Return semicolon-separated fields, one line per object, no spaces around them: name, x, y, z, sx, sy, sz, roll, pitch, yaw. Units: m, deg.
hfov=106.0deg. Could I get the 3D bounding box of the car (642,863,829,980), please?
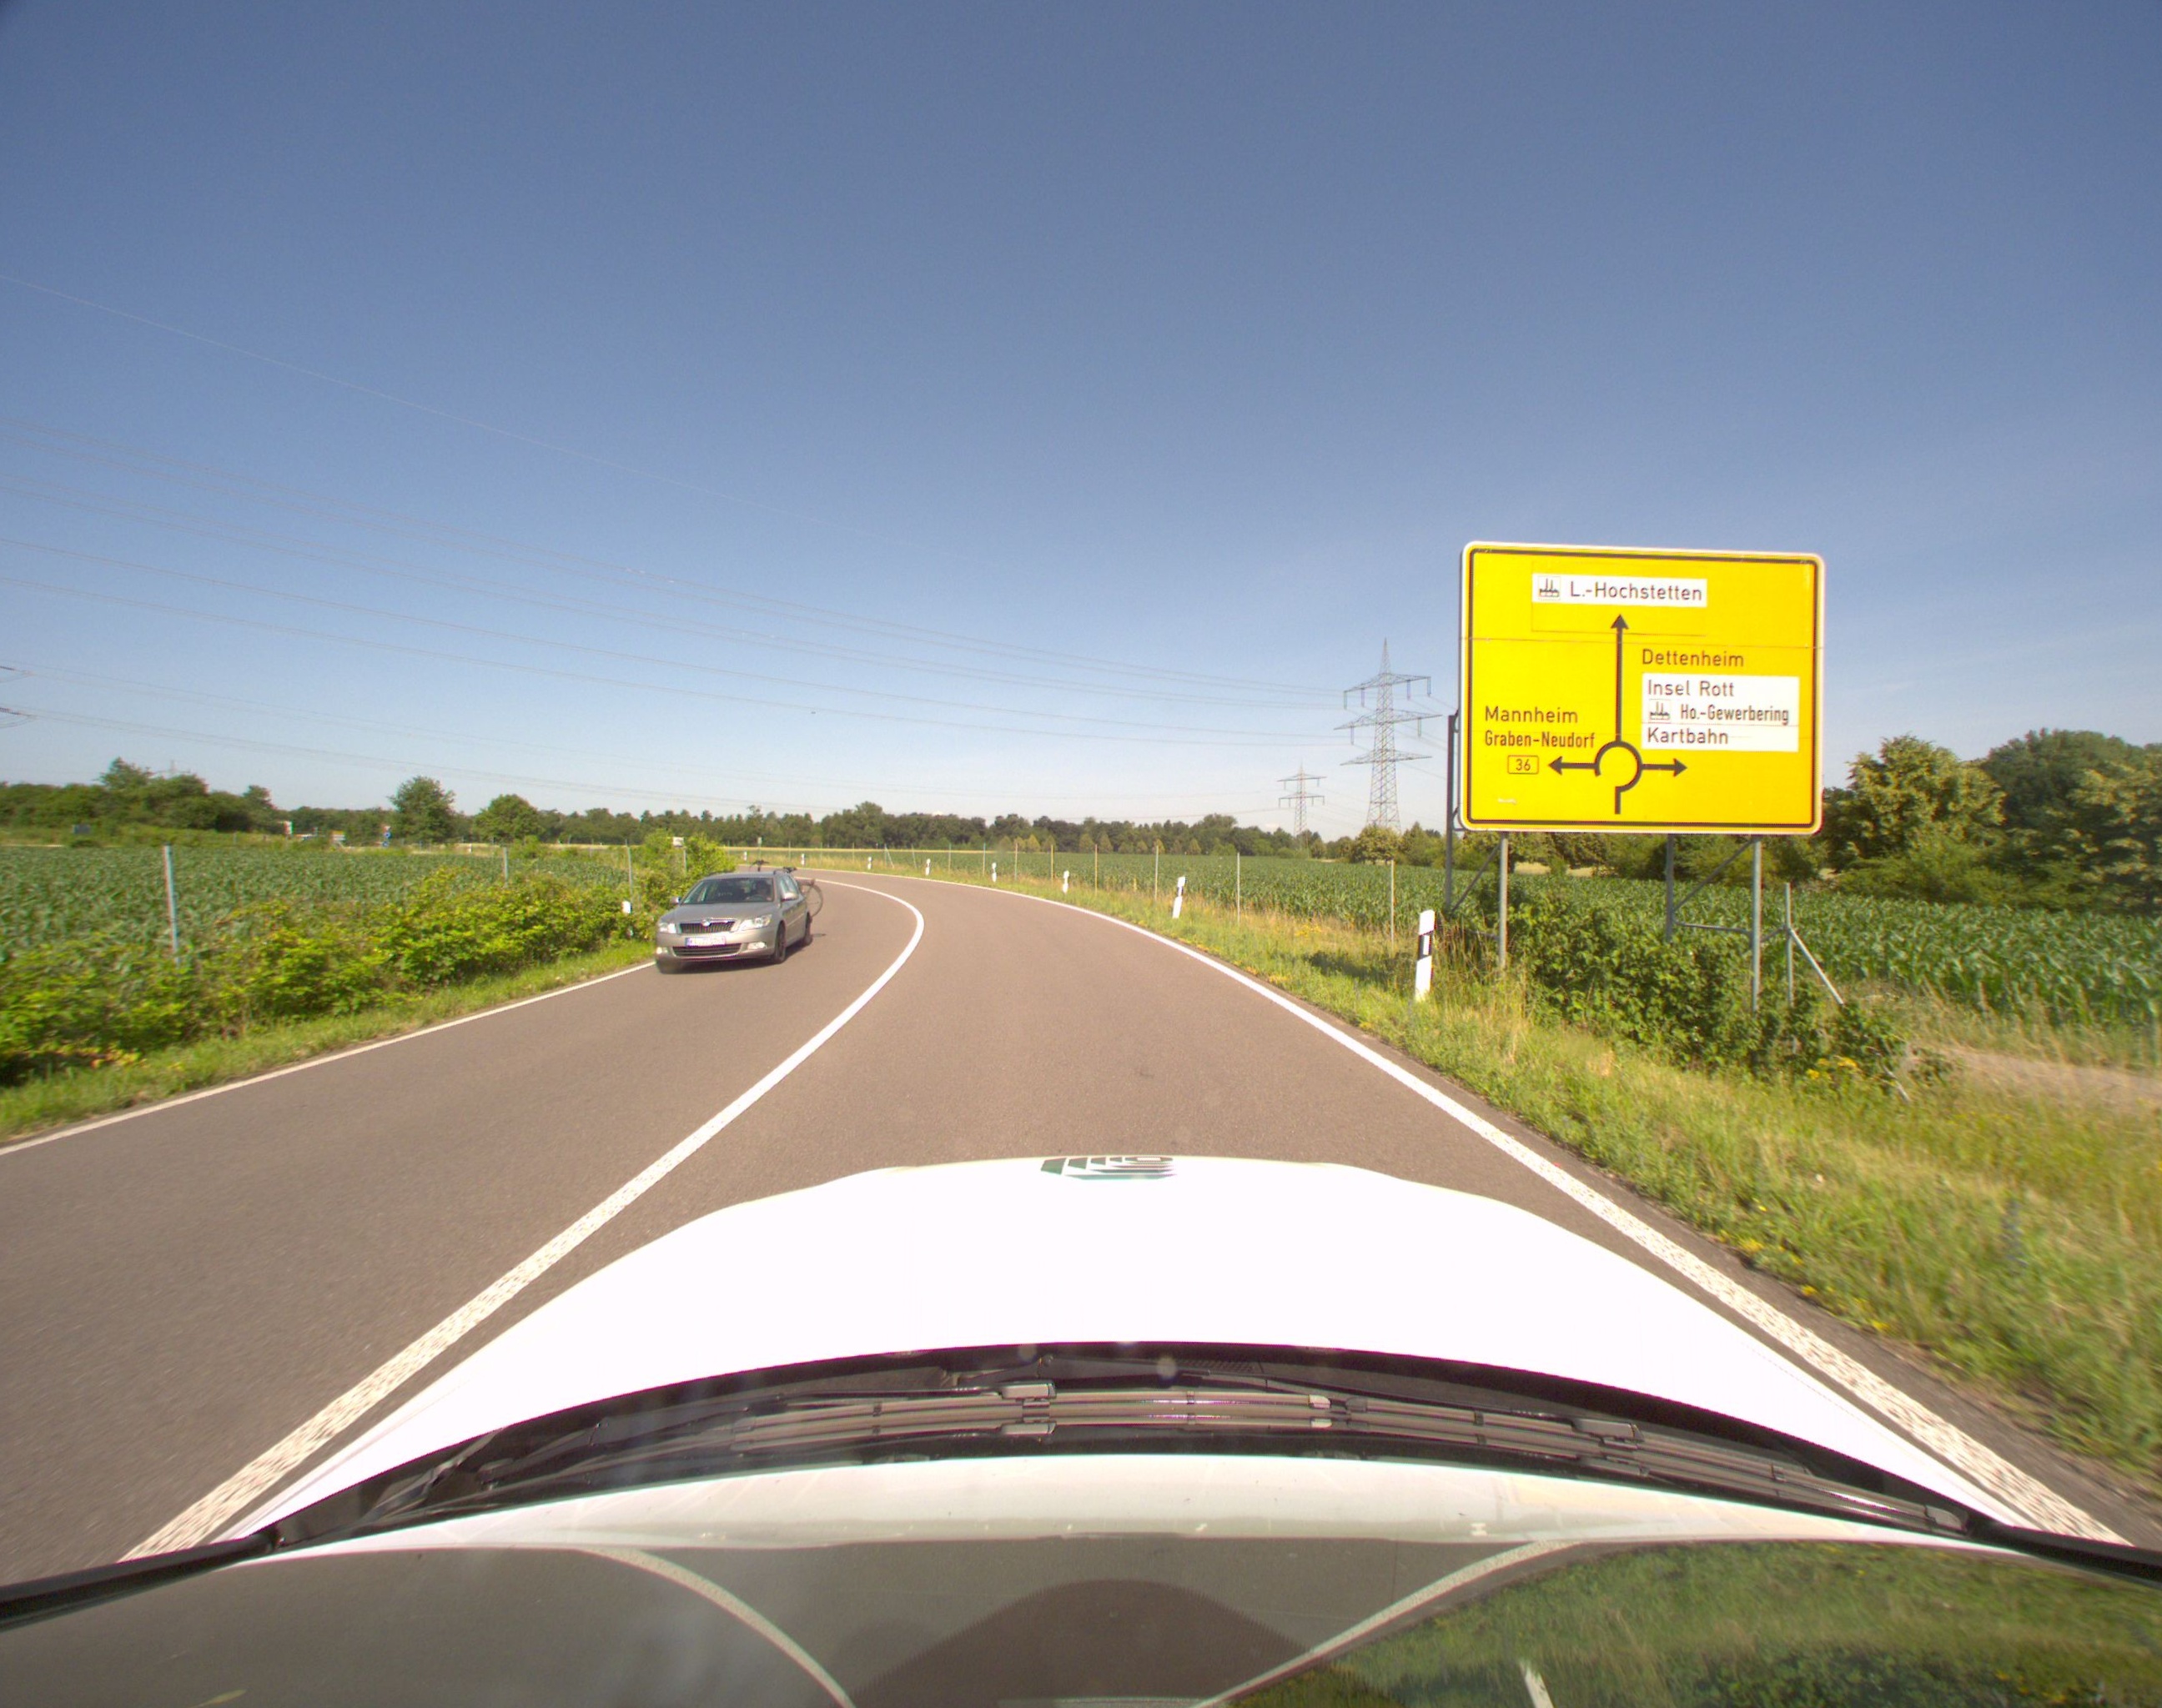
car;-5.666;0.976;14.086;1.867;1.480;5.116;-3;0;-11
